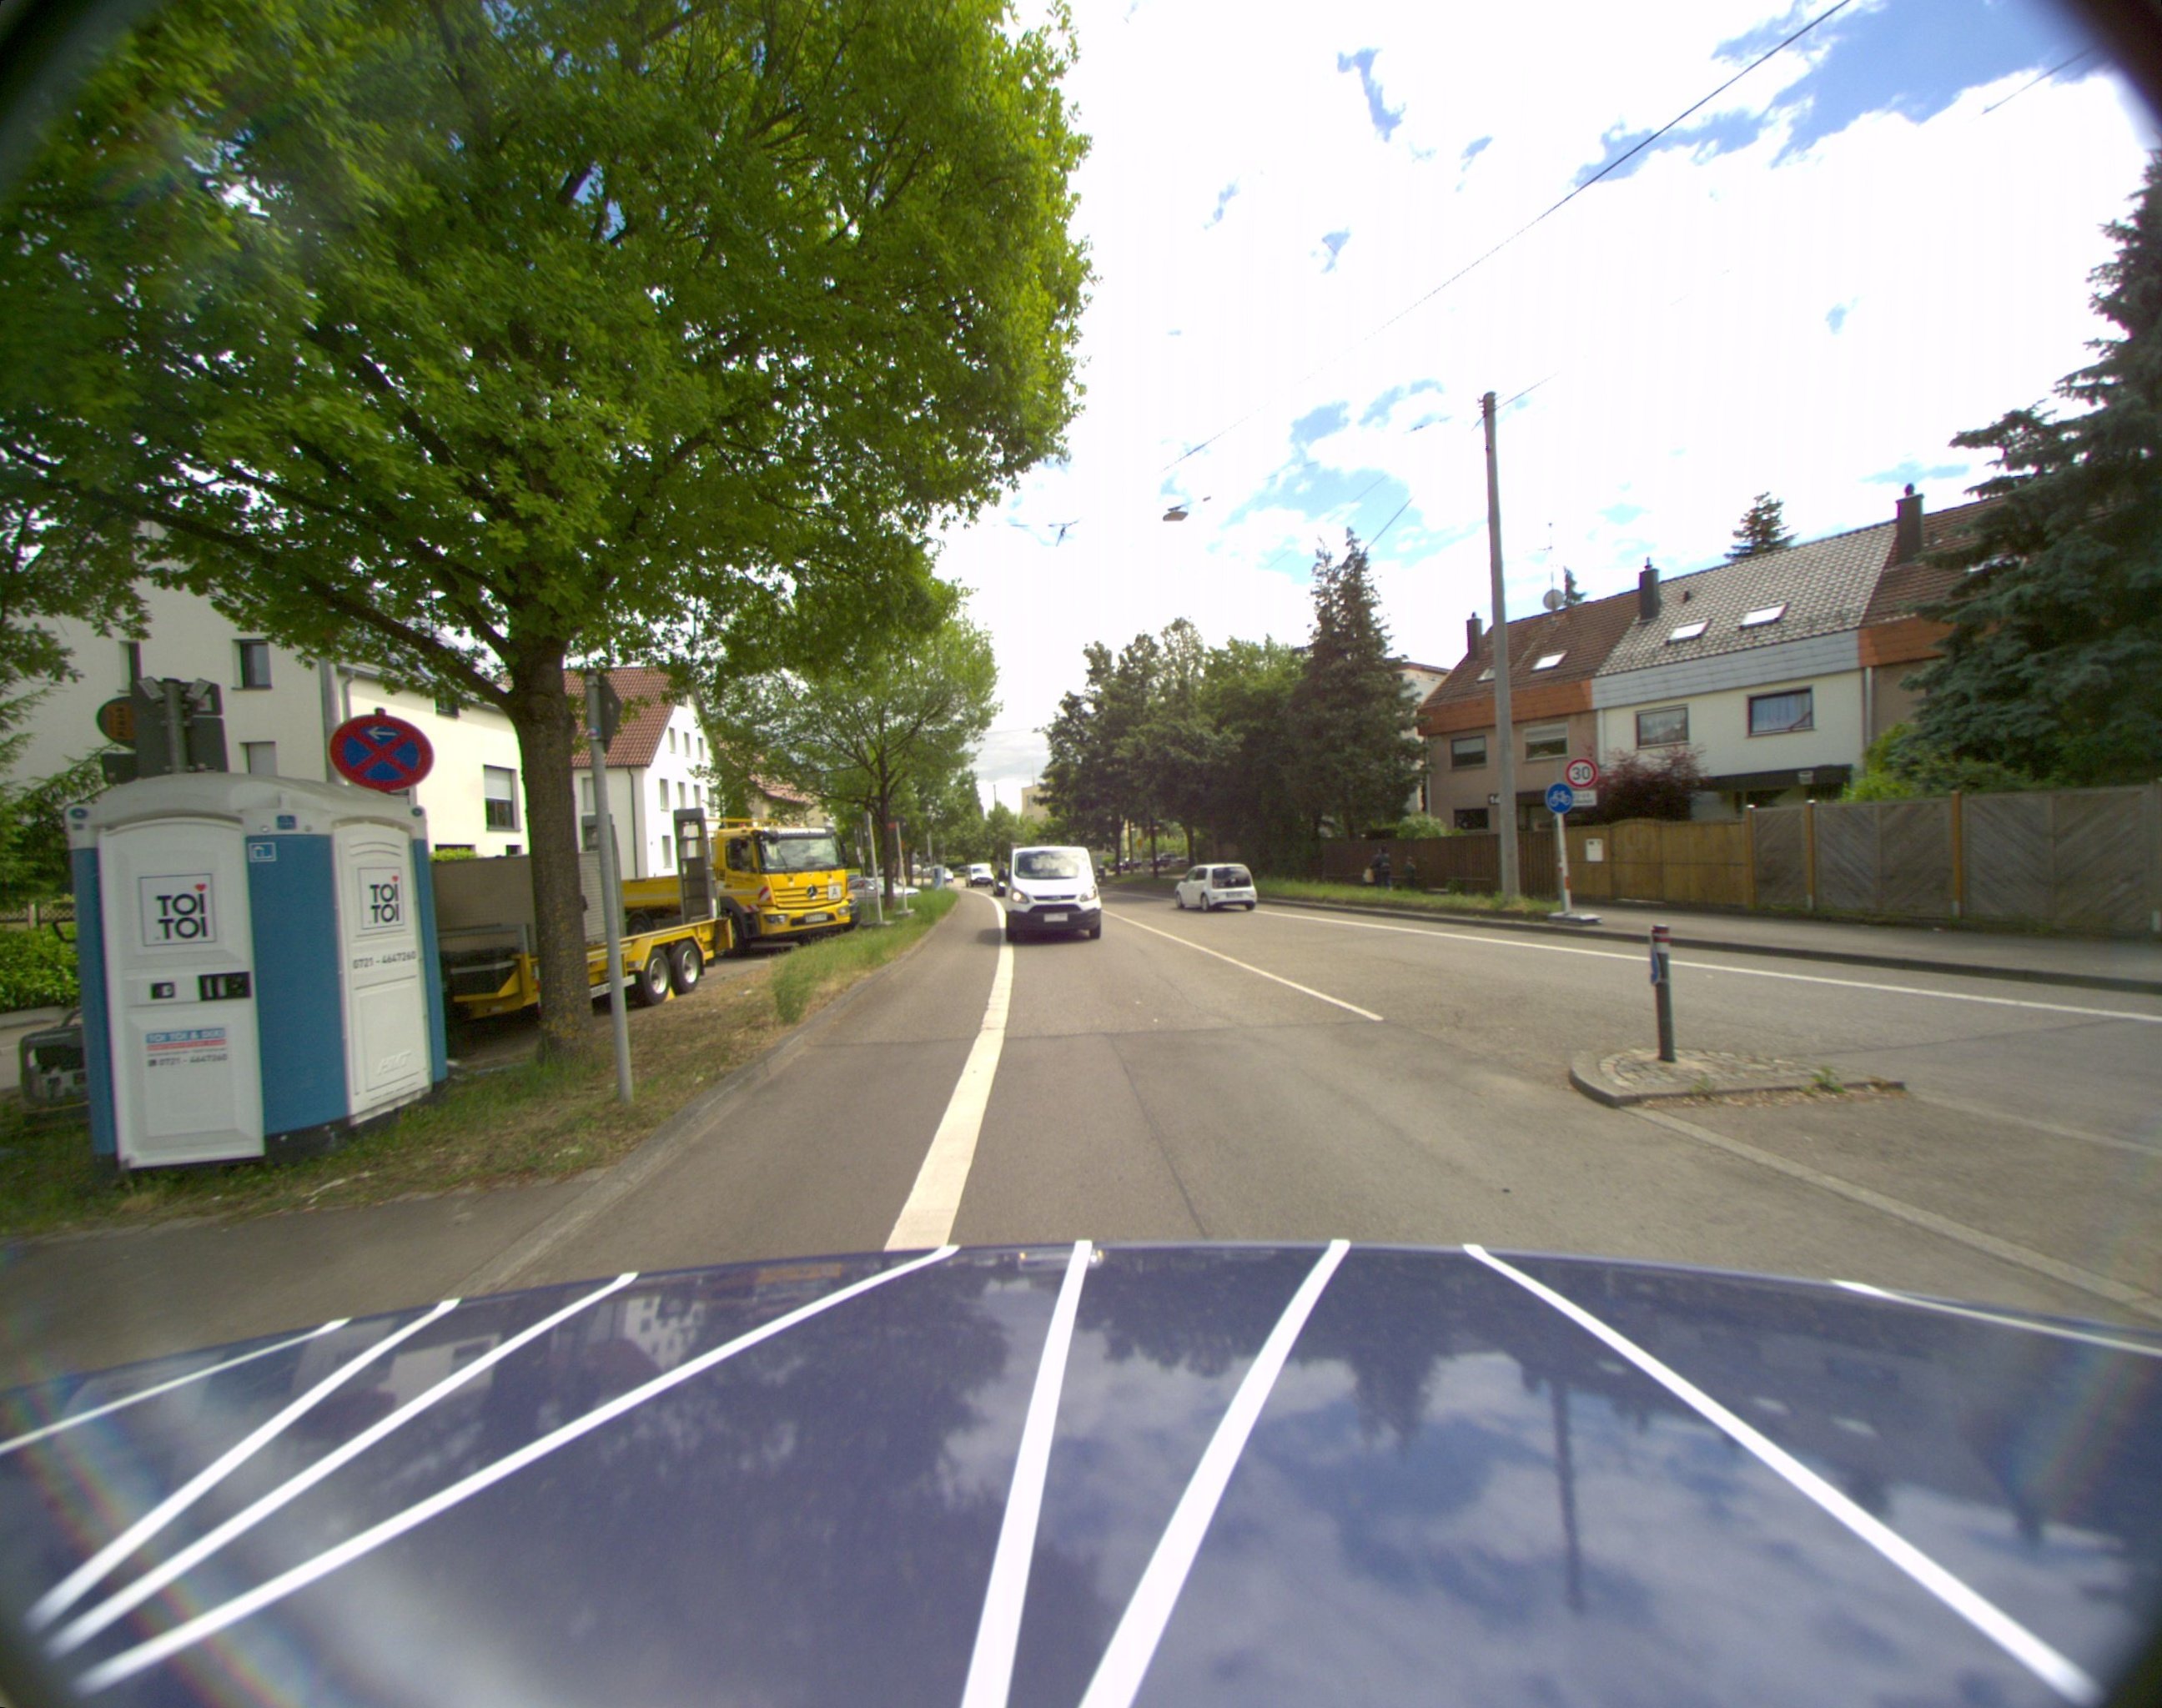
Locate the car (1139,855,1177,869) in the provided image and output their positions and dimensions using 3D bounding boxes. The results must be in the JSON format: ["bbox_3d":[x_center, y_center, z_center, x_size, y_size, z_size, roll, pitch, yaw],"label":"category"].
[{"bbox_3d":[9.199,0.925,90.603,4.006,1.499,1.995,-3,0,-33],"label":"car"}]

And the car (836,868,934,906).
[{"bbox_3d":[-8.973,1.485,34.667,4.295,1.569,2.004,-2,0,37],"label":"car"}]

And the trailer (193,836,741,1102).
[{"bbox_3d":[-6.896,1.065,9.840,2.600,2.232,5.672,-5,0,-4],"label":"trailer"}]

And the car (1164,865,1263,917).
[{"bbox_3d":[4.232,1.136,24.952,1.700,1.504,3.995,-2,0,-14],"label":"car"}]

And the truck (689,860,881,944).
[{"bbox_3d":[-8.416,1.385,21.289,5.943,2.001,2.004,-5,-1,36],"label":"truck"}]

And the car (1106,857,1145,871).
[{"bbox_3d":[5.133,1.152,87.643,4.006,1.499,1.995,-3,0,-35],"label":"car"}]

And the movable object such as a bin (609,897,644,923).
[{"bbox_3d":[-21.506,2.630,35.996,1.122,1.112,0.822,-3,0,-5],"label":"movable object such as a bin"}]

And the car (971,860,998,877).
[{"bbox_3d":[-10.822,1.642,85.185,2.002,1.719,4.097,-3,0,-22],"label":"car"}]

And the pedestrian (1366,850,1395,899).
[{"bbox_3d":[9.384,0.631,23.797,0.556,1.472,0.641,-3,0,-7],"label":"pedestrian"}]

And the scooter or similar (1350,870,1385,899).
[{"bbox_3d":[9.274,0.986,24.638,0.638,0.859,1.030,-3,0,-7],"label":"scooter or similar"}]

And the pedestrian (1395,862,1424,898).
[{"bbox_3d":[10.348,0.809,23.923,0.556,1.080,0.641,-3,0,-7],"label":"pedestrian"}]

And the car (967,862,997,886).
[{"bbox_3d":[-8.077,1.593,61.619,2.000,1.719,4.100,-3,0,-12],"label":"car"}]

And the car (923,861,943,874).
[{"bbox_3d":[-20.397,1.871,104.664,2.002,1.719,4.097,-3,0,-22],"label":"car"}]

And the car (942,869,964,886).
[{"bbox_3d":[-13.494,2.426,79.881,2.001,1.652,3.996,-3,0,-13],"label":"car"}]

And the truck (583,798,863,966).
[{"bbox_3d":[-8.364,0.776,17.487,6.617,3.178,2.347,-6,-2,31],"label":"truck"}]

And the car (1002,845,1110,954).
[{"bbox_3d":[-0.733,0.855,17.516,1.999,2.002,5.510,-3,1,-5],"label":"car"}]
